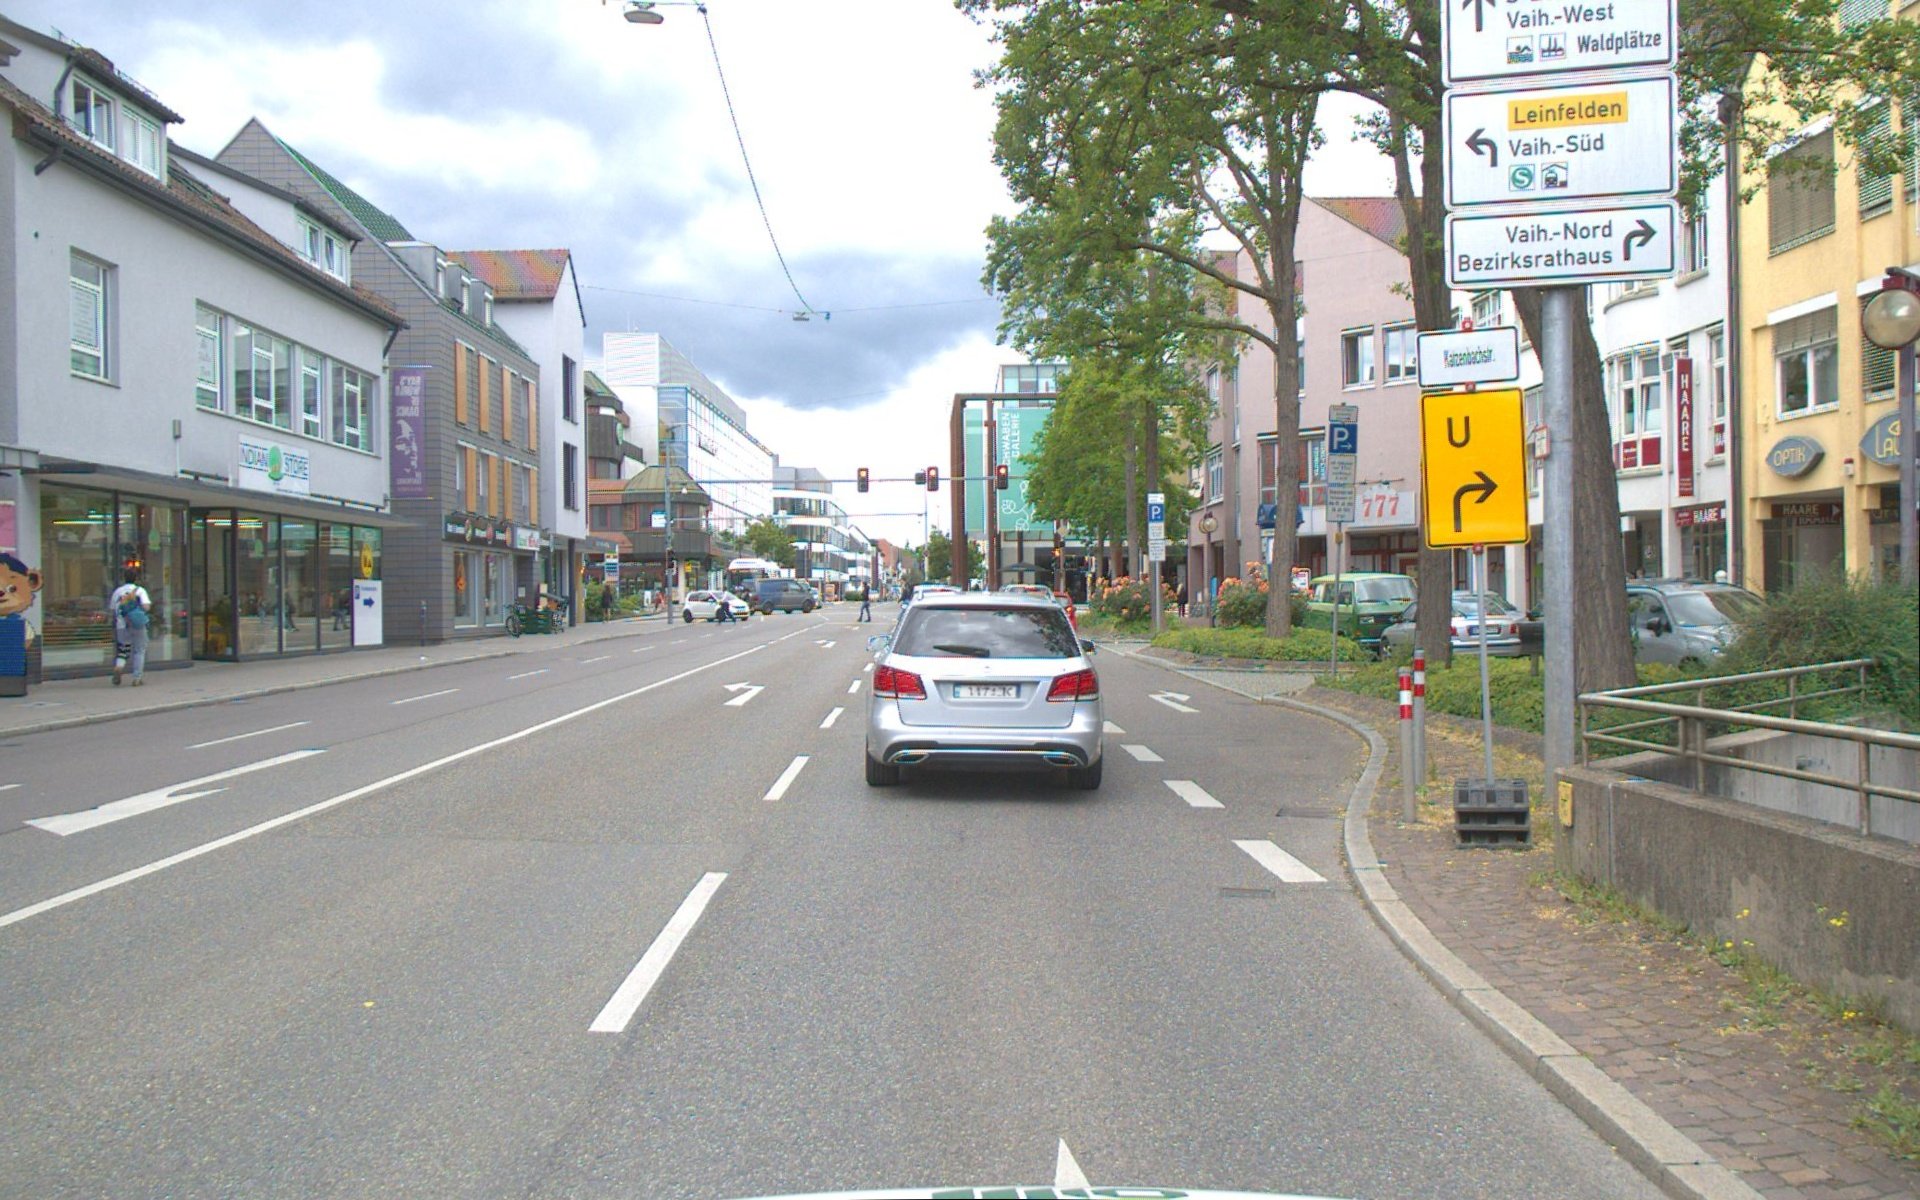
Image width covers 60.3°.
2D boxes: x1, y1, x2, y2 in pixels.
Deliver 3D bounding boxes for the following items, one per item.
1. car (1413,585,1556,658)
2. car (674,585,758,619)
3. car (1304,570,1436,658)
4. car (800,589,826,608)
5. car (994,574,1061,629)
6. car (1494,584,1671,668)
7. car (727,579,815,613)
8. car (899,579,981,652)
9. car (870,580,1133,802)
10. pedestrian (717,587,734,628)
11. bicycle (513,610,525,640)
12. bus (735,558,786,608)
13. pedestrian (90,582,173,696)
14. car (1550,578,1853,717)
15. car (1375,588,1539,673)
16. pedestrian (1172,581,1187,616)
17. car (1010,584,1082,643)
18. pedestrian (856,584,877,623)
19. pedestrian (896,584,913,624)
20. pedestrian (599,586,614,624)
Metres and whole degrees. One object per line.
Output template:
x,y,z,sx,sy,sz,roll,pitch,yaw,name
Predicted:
12.056,0.455,38.250,1.829,1.554,3.997,-1,0,-4,car
-11.620,0.122,78.597,3.919,1.557,1.660,-1,0,36,car
9.367,0.292,38.077,1.829,1.897,3.997,-1,0,-4,car
-10.431,-0.112,117.351,1.543,1.266,3.606,-1,0,-1,car
2.179,0.043,54.487,1.953,1.713,3.999,-1,0,-1,car
12.352,0.478,33.085,1.829,1.554,3.997,-1,0,-4,car
-10.895,-0.244,95.410,1.967,1.855,4.888,-1,0,45,car
-0.507,0.361,41.976,1.953,1.713,3.999,-1,0,-1,car
0.191,0.627,13.557,1.837,1.532,3.998,0,0,-3,car
-9.710,0.319,68.459,0.602,1.663,0.586,2,0,-13,pedestrian
-13.553,0.771,50.830,0.268,0.906,1.225,-1,0,-10,bicycle
-13.258,-1.104,110.232,2.719,3.220,5.932,-1,0,-1,bus
-12.459,0.571,24.905,0.801,1.663,0.979,1,0,-7,pedestrian
9.892,0.567,22.515,1.843,1.667,4.495,-1,0,-4,car
9.764,0.552,32.818,1.829,1.554,3.997,-1,0,-4,car
10.733,-0.073,80.812,0.600,1.663,0.588,2,0,12,pedestrian
2.362,0.360,46.181,1.719,1.547,3.999,-1,0,-1,car
-4.000,0.144,70.762,0.817,1.663,0.587,2,0,-5,pedestrian
-2.331,0.152,69.462,0.601,1.663,0.587,2,0,-5,pedestrian
-16.178,0.227,75.658,0.576,1.699,0.639,2,1,-14,pedestrian
